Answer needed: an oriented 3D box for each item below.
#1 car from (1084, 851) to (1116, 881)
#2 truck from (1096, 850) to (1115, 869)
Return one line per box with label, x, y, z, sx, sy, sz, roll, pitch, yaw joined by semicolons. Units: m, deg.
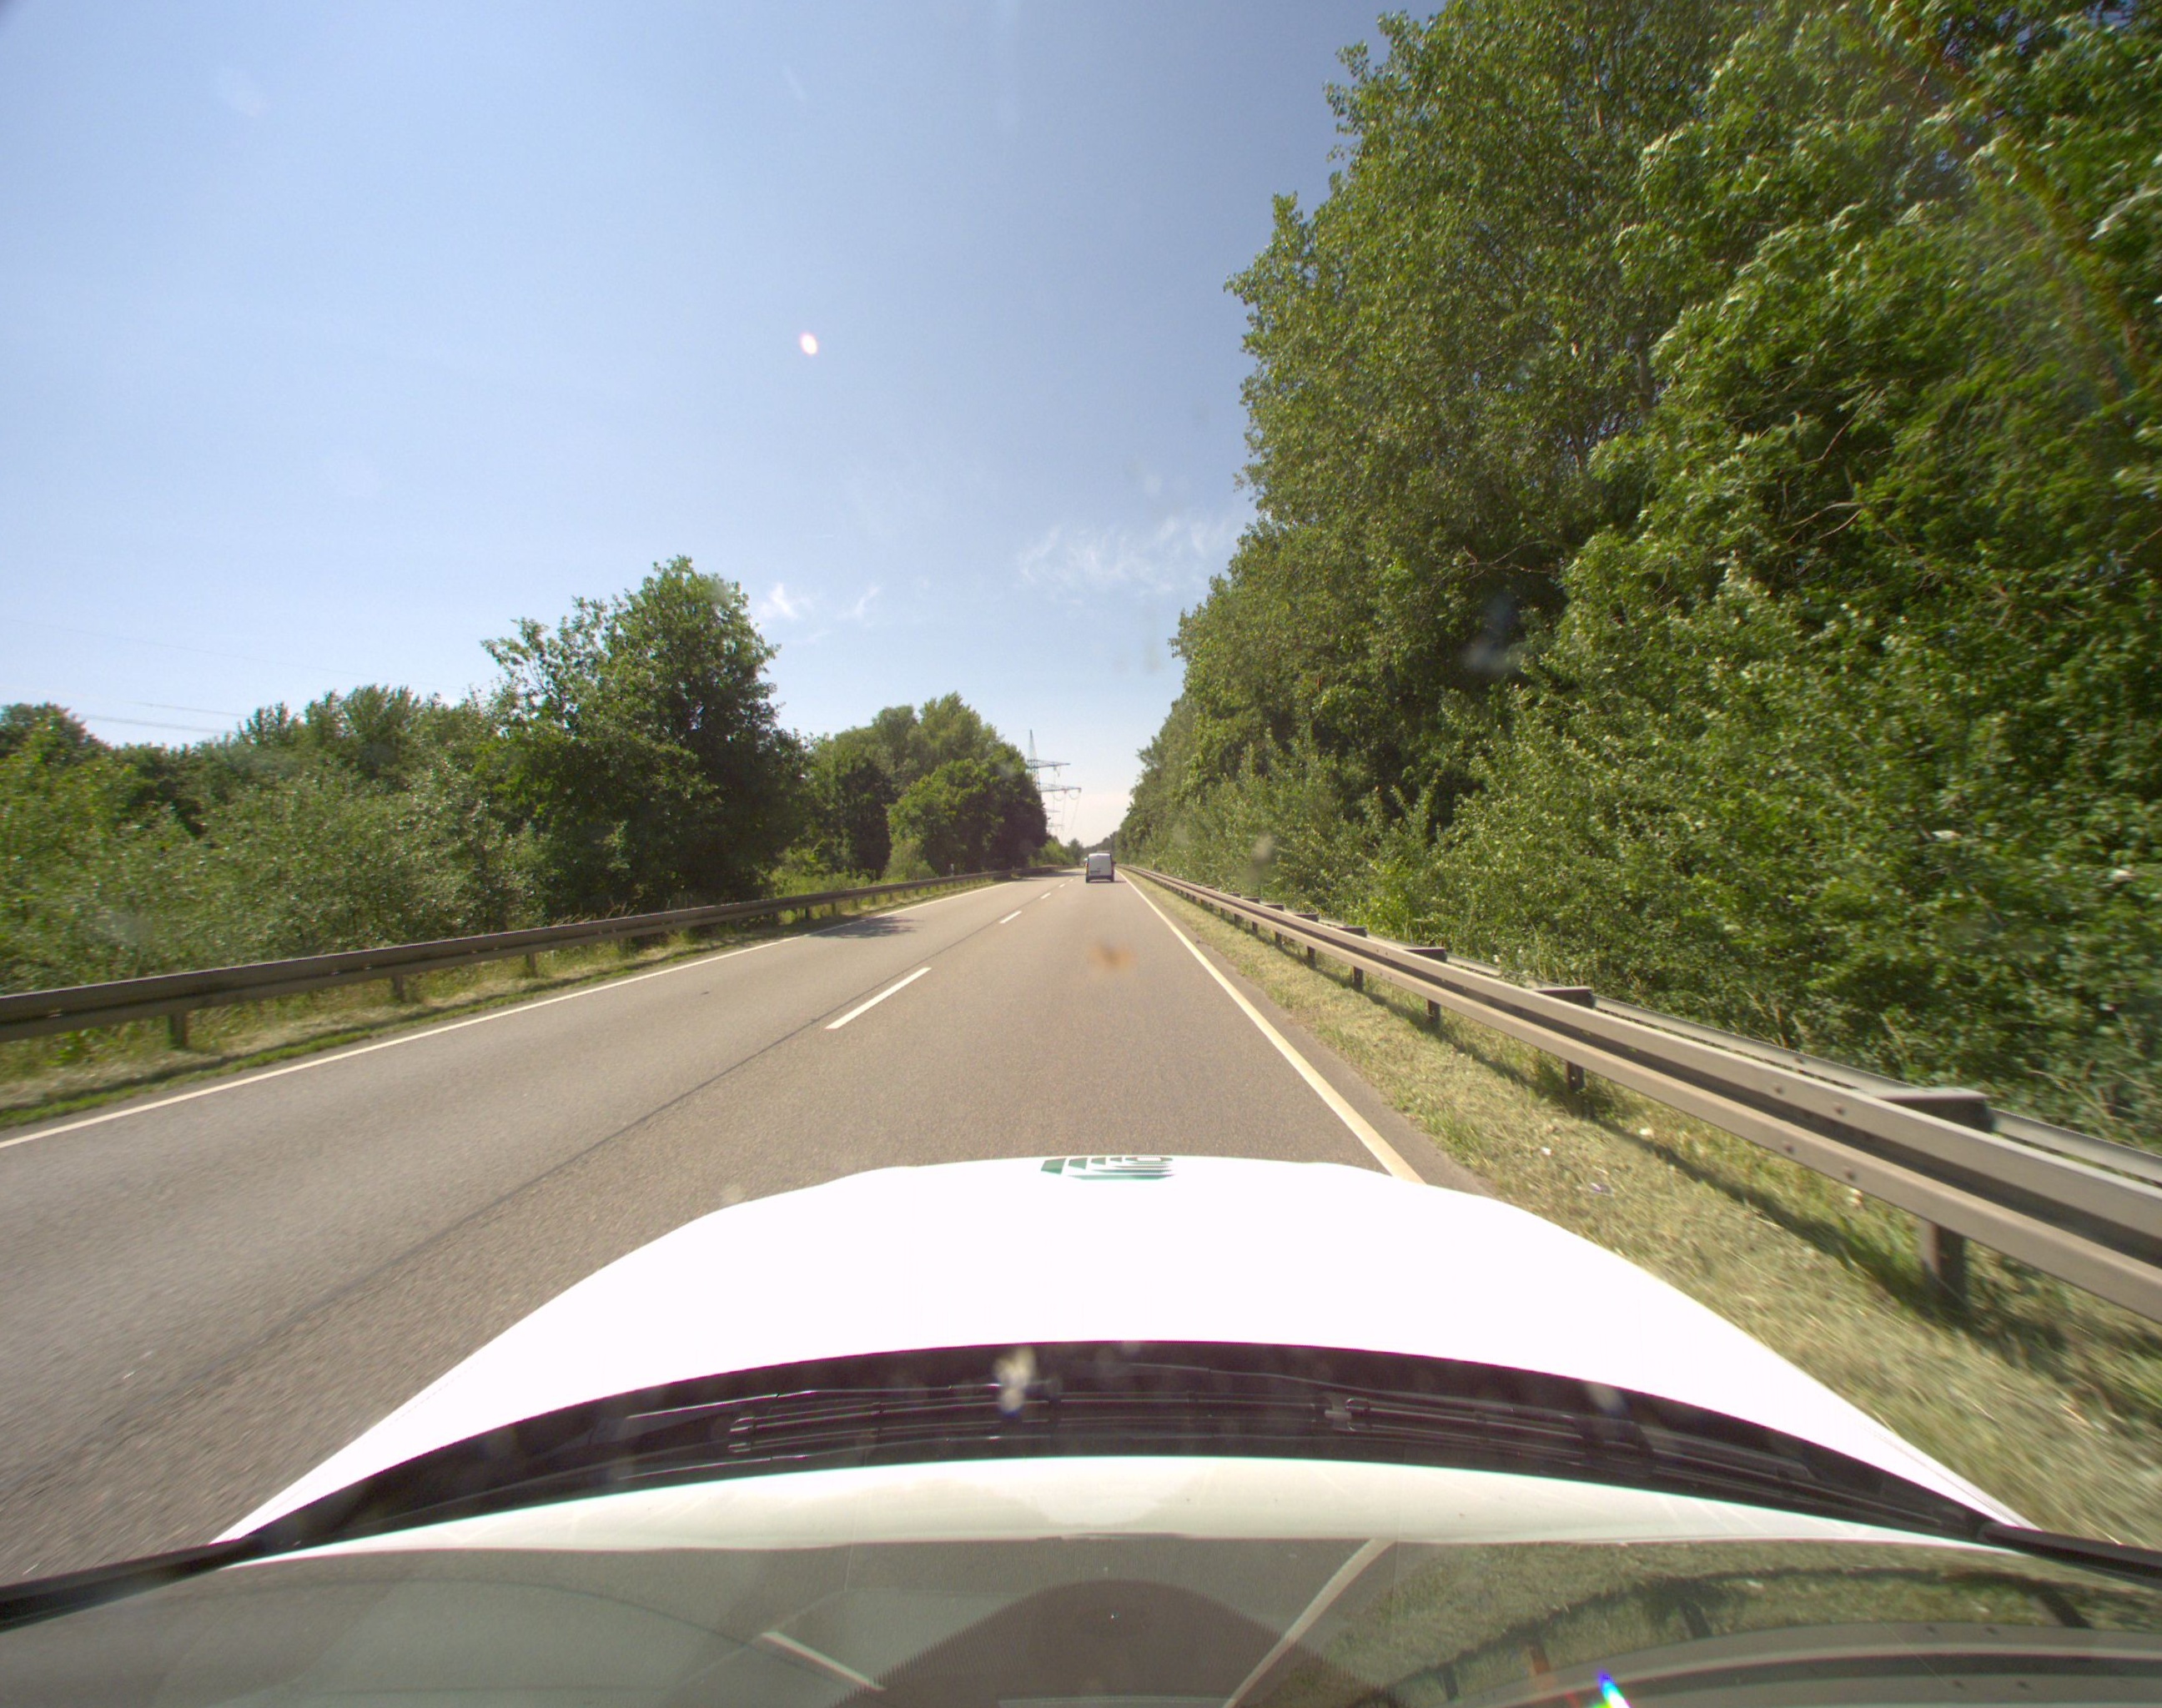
car;1.190;0.730;50.816;1.868;1.741;4.001;-1;0;1
truck;4.484;0.919;148.889;3.284;3.172;14.409;-1;0;1
